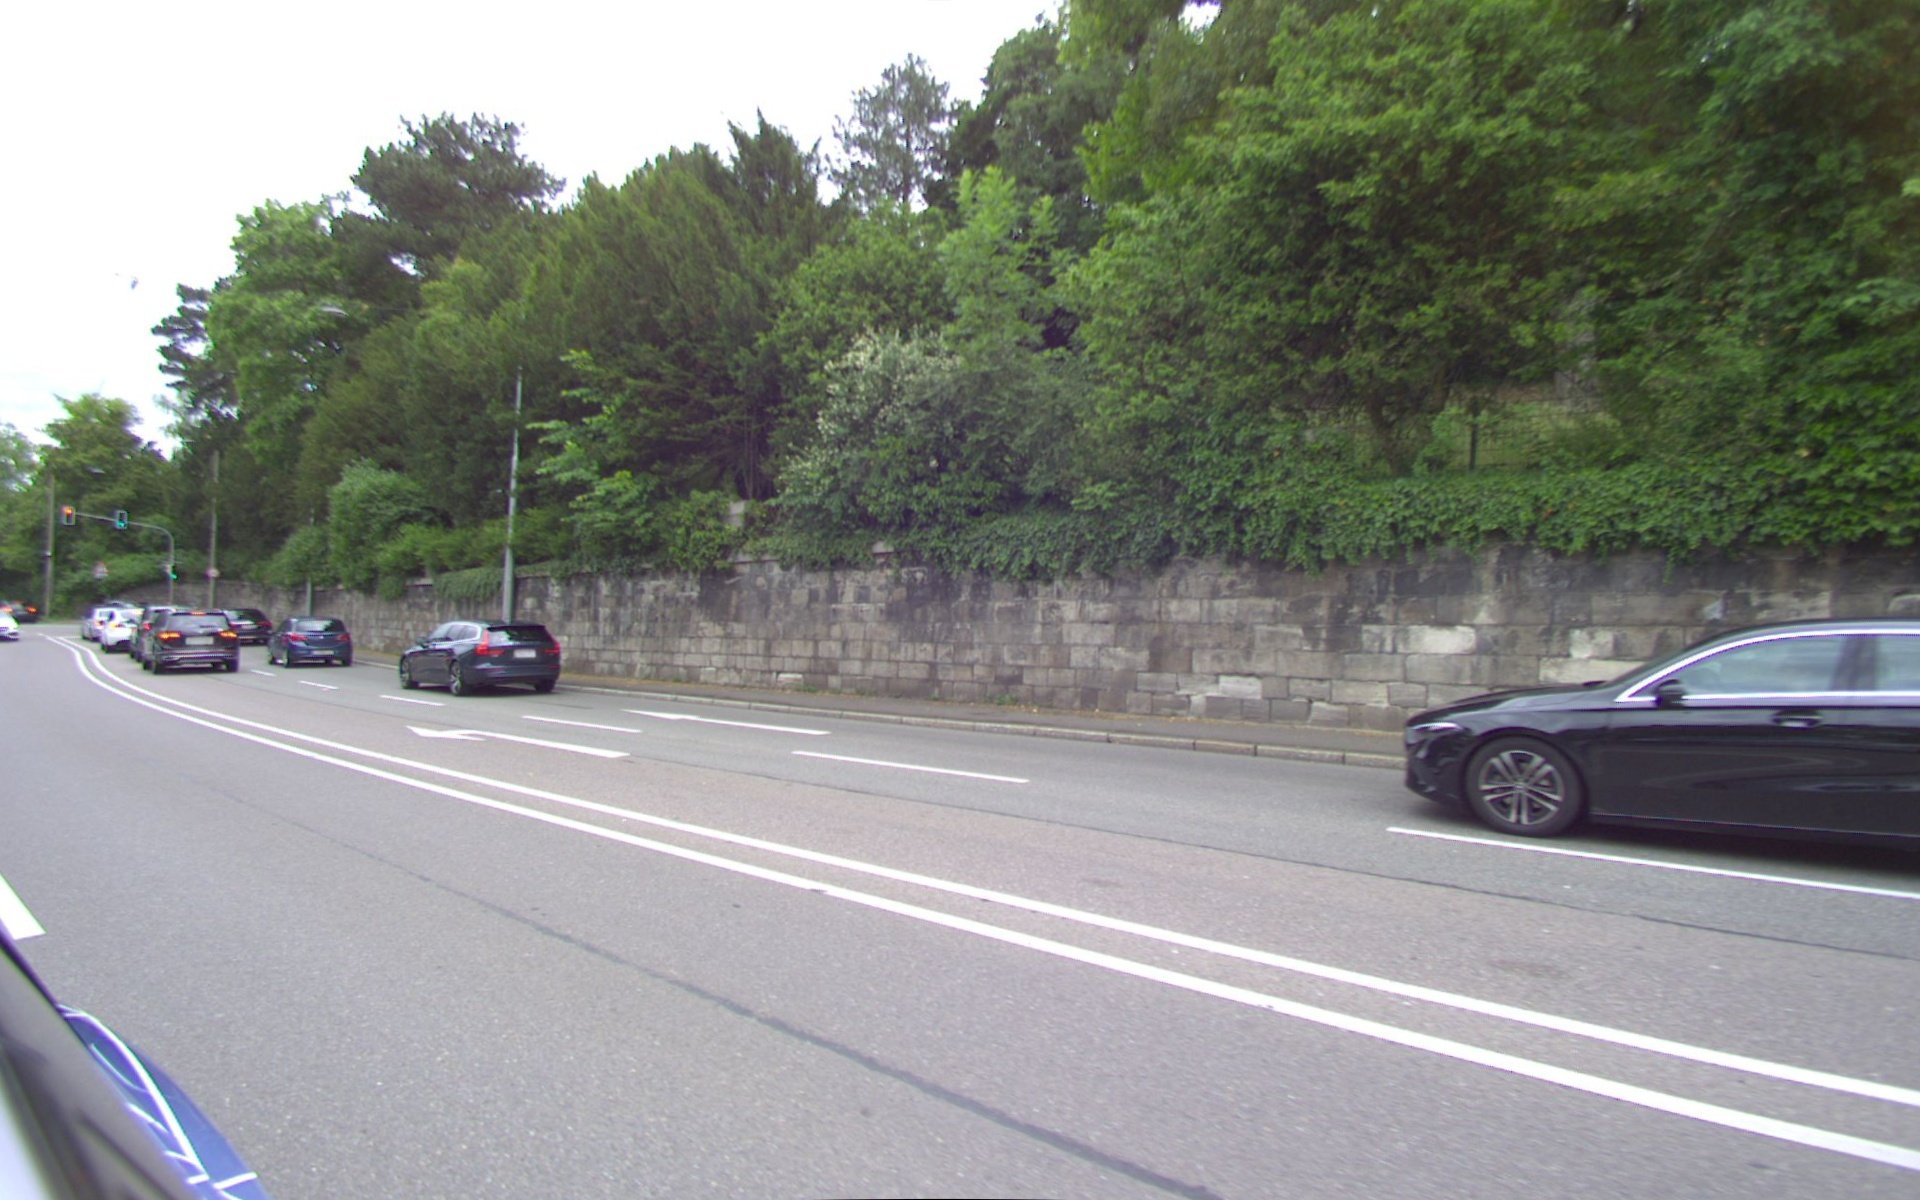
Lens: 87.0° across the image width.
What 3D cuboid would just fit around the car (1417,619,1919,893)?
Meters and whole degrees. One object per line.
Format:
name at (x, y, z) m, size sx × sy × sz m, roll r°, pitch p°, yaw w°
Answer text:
car at (5.199, 0.831, 6.037) m, size 4.251 × 1.413 × 1.546 m, roll -1°, pitch -2°, yaw 41°

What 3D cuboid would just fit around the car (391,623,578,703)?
car at (-9.546, 1.182, 20.155) m, size 4.455 × 1.420 × 1.823 m, roll -1°, pitch -2°, yaw 43°

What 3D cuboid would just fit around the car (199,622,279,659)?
car at (-29.734, 1.612, 41.691) m, size 1.979 × 1.420 × 4.759 m, roll 1°, pitch -2°, yaw -44°

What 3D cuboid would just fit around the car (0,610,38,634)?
car at (-59.664, 1.372, 63.298) m, size 3.937 × 1.445 × 1.622 m, roll -1°, pitch 0°, yaw 26°

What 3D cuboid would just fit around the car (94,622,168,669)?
car at (-31.301, 1.659, 38.149) m, size 1.816 × 1.566 × 4.793 m, roll 0°, pitch 0°, yaw -44°

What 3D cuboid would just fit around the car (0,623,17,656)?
car at (-43.607, 1.754, 45.367) m, size 1.776 × 1.401 × 3.532 m, roll 1°, pitch -1°, yaw -41°

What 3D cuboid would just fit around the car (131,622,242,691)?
car at (-20.958, 1.456, 27.350) m, size 1.826 × 1.664 × 4.628 m, roll 2°, pitch -2°, yaw -44°

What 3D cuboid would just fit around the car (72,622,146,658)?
car at (-38.449, 1.766, 45.672) m, size 4.878 × 1.481 × 1.972 m, roll -1°, pitch -2°, yaw 43°

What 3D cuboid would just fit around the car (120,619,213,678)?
car at (-25.874, 1.516, 32.945) m, size 1.936 × 1.763 × 4.883 m, roll 1°, pitch -2°, yaw -43°

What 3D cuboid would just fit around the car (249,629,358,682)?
car at (-19.582, 1.603, 30.117) m, size 4.000 × 1.447 × 1.822 m, roll -2°, pitch -3°, yaw 43°
